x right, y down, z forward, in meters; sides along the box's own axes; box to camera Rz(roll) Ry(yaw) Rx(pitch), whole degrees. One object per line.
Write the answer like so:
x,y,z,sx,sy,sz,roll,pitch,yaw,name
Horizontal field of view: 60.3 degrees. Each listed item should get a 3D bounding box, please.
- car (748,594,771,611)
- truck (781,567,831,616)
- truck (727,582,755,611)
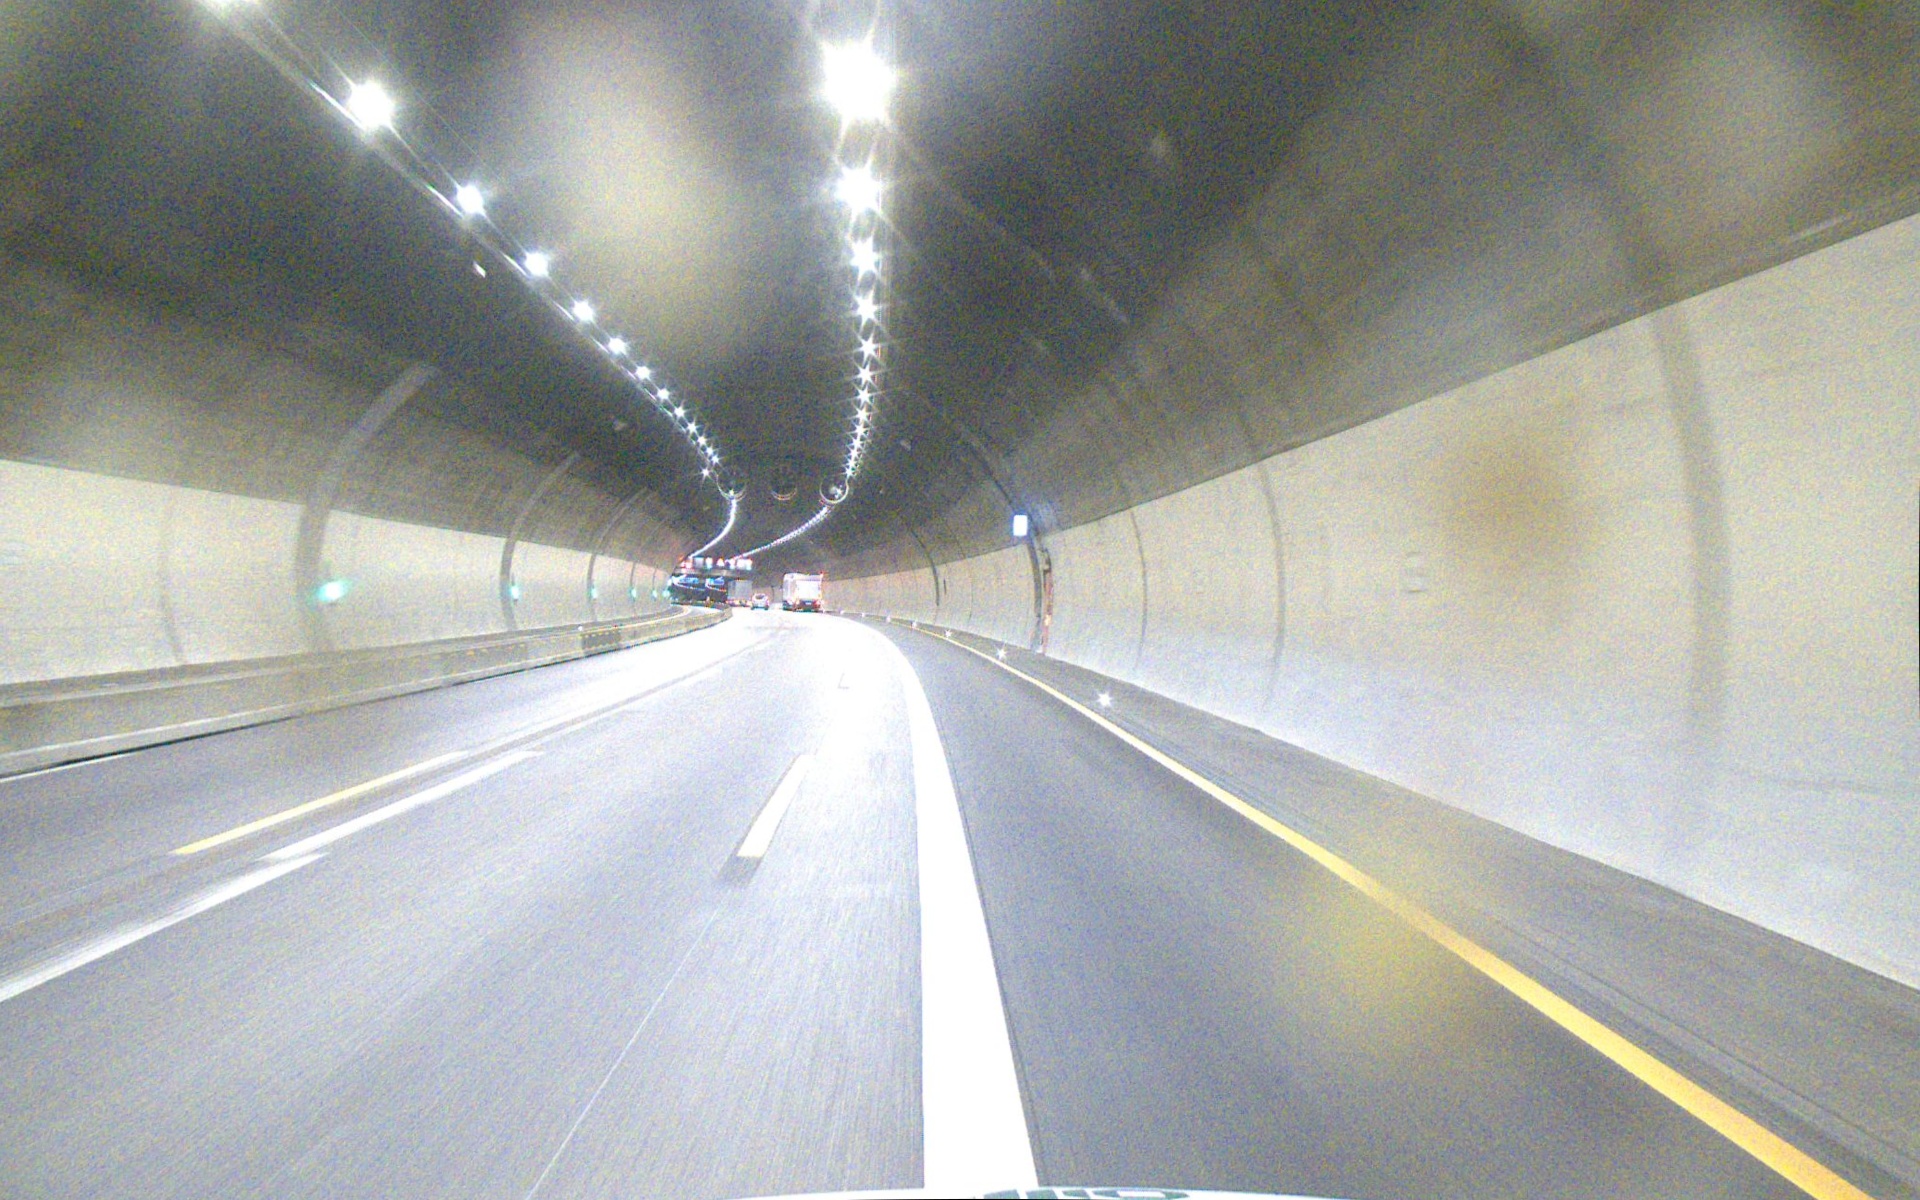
-20.670,0.229,170.753,1.959,1.609,3.987,2,0,-12,car
-14.722,-0.816,157.370,3.413,4.391,10.920,2,0,-12,truck
-33.775,-0.517,254.488,3.413,4.392,10.920,1,0,-12,truck
